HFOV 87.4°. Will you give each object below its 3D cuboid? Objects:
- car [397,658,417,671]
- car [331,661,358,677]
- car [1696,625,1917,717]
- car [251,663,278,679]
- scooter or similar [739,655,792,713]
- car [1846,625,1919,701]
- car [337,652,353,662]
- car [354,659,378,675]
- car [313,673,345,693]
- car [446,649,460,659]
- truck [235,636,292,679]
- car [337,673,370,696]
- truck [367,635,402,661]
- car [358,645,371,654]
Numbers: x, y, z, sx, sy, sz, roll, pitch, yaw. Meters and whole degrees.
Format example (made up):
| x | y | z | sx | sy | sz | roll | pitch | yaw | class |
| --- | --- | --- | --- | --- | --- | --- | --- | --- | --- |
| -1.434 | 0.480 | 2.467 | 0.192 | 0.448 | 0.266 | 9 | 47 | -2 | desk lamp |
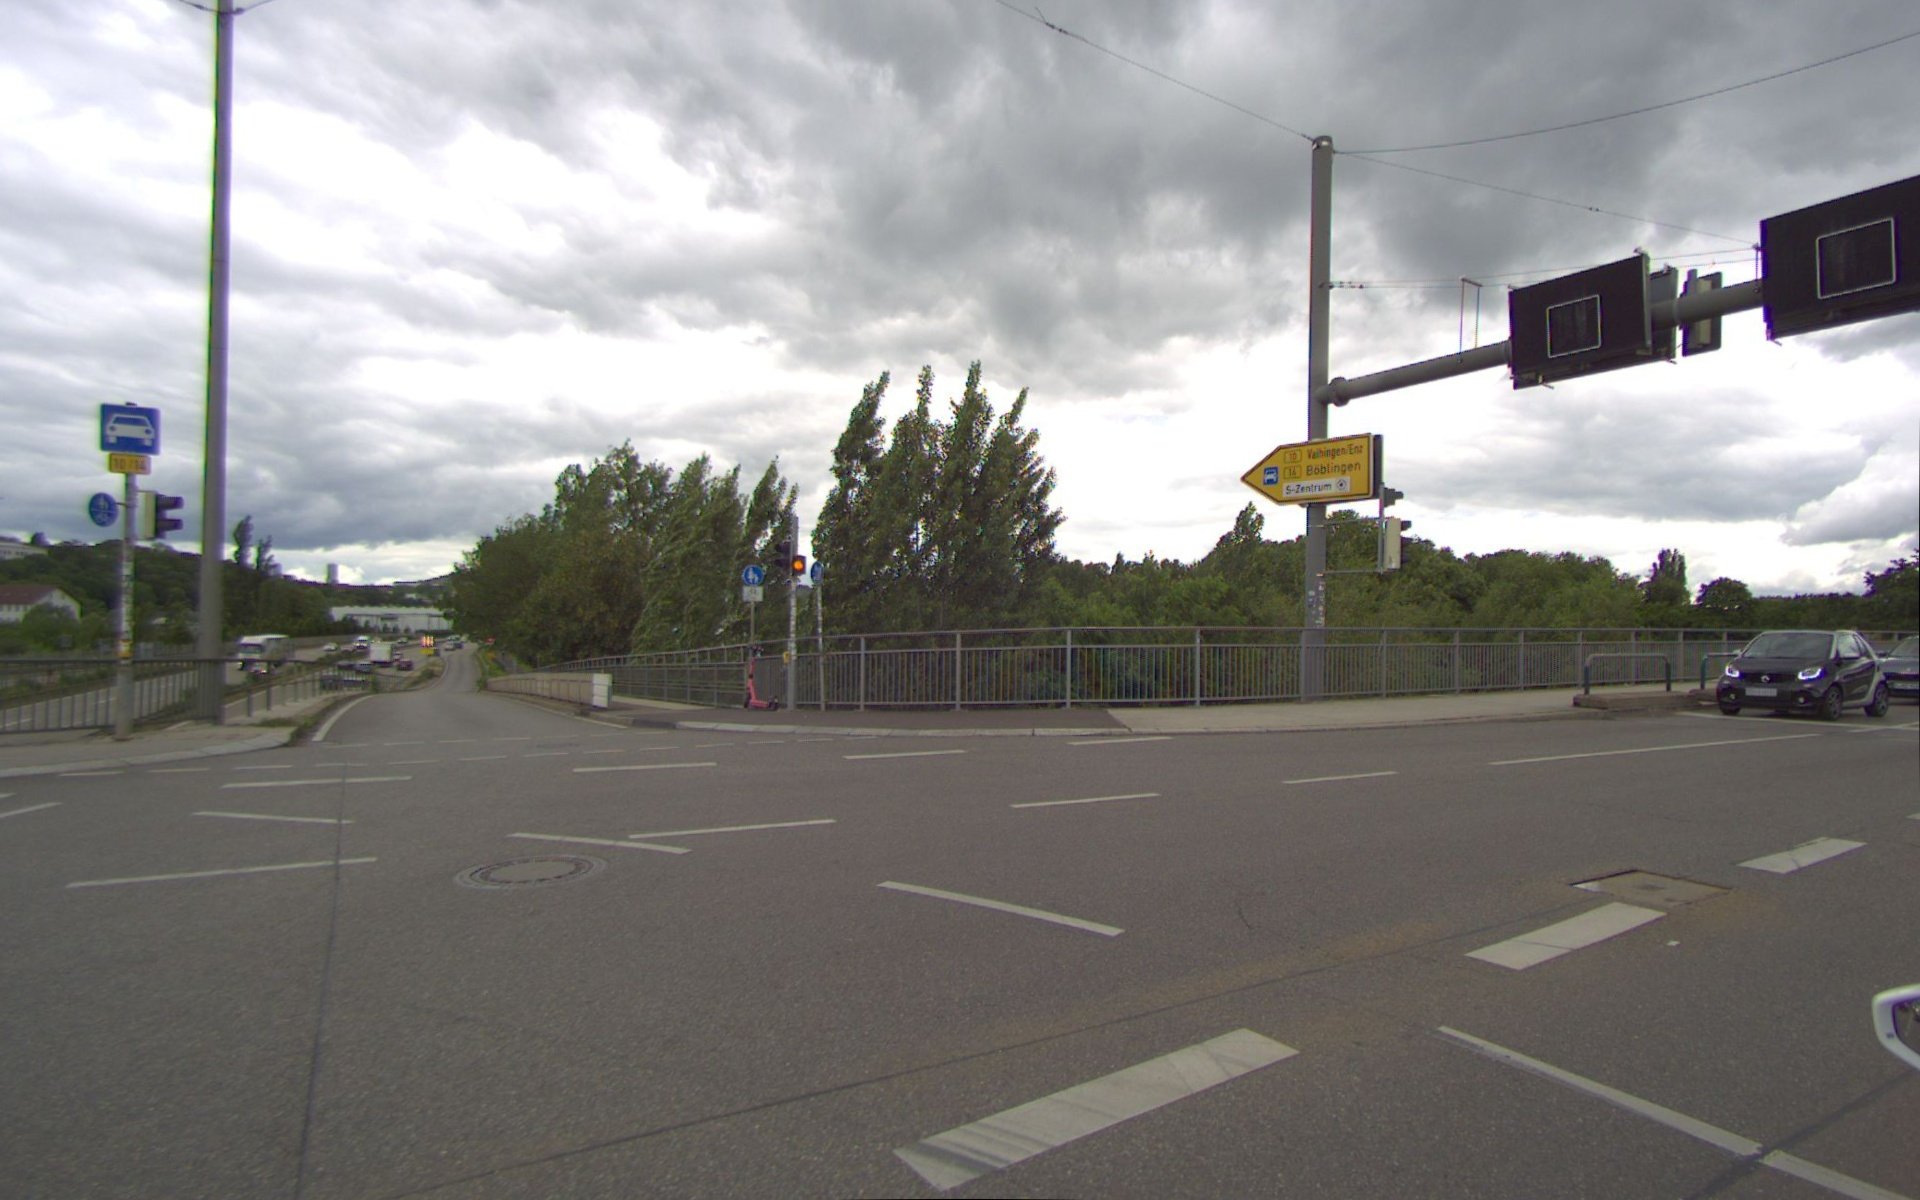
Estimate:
| x | y | z | sx | sy | sz | roll | pitch | yaw | class |
| --- | --- | --- | --- | --- | --- | --- | --- | --- | --- |
| -76.525 | 8.916 | 139.034 | 2.111 | 1.586 | 4.396 | 3 | -1 | -26 | car |
| -81.649 | 9.143 | 133.309 | 2.304 | 1.740 | 4.705 | -1 | 0 | -24 | car |
| 15.510 | 1.227 | 18.396 | 3.823 | 1.524 | 1.828 | 1 | -2 | -29 | car |
| -81.652 | 8.352 | 117.946 | 1.887 | 1.739 | 3.620 | 3 | -4 | -23 | car |
| -3.786 | 1.620 | 19.524 | 0.480 | 1.070 | 1.322 | 1 | -3 | -37 | scooter or similar |
| 21.129 | 1.293 | 21.612 | 4.464 | 1.524 | 1.827 | 1 | -2 | -31 | car |
| -114.588 | 10.567 | 187.109 | 1.887 | 1.739 | 3.620 | 3 | -4 | -23 | car |
| -75.356 | 8.443 | 127.492 | 2.111 | 1.739 | 4.396 | 3 | -1 | -26 | car |
| -62.418 | 8.205 | 99.450 | 2.111 | 1.739 | 4.396 | 3 | -1 | -26 | car |
| -113.017 | 12.106 | 223.932 | 2.563 | 2.040 | 4.614 | 2 | -2 | -24 | car |
| -90.583 | 7.299 | 130.870 | 3.331 | 5.020 | 13.859 | 0 | -1 | -23 | truck |
| -56.122 | 7.806 | 92.970 | 2.111 | 1.739 | 4.396 | 3 | -1 | -26 | car |
| -82.948 | 6.868 | 144.895 | 3.547 | 3.501 | 8.189 | 3 | -2 | -25 | truck |
| -125.649 | 10.462 | 211.890 | 1.887 | 1.739 | 3.620 | 3 | -4 | -23 | car |
